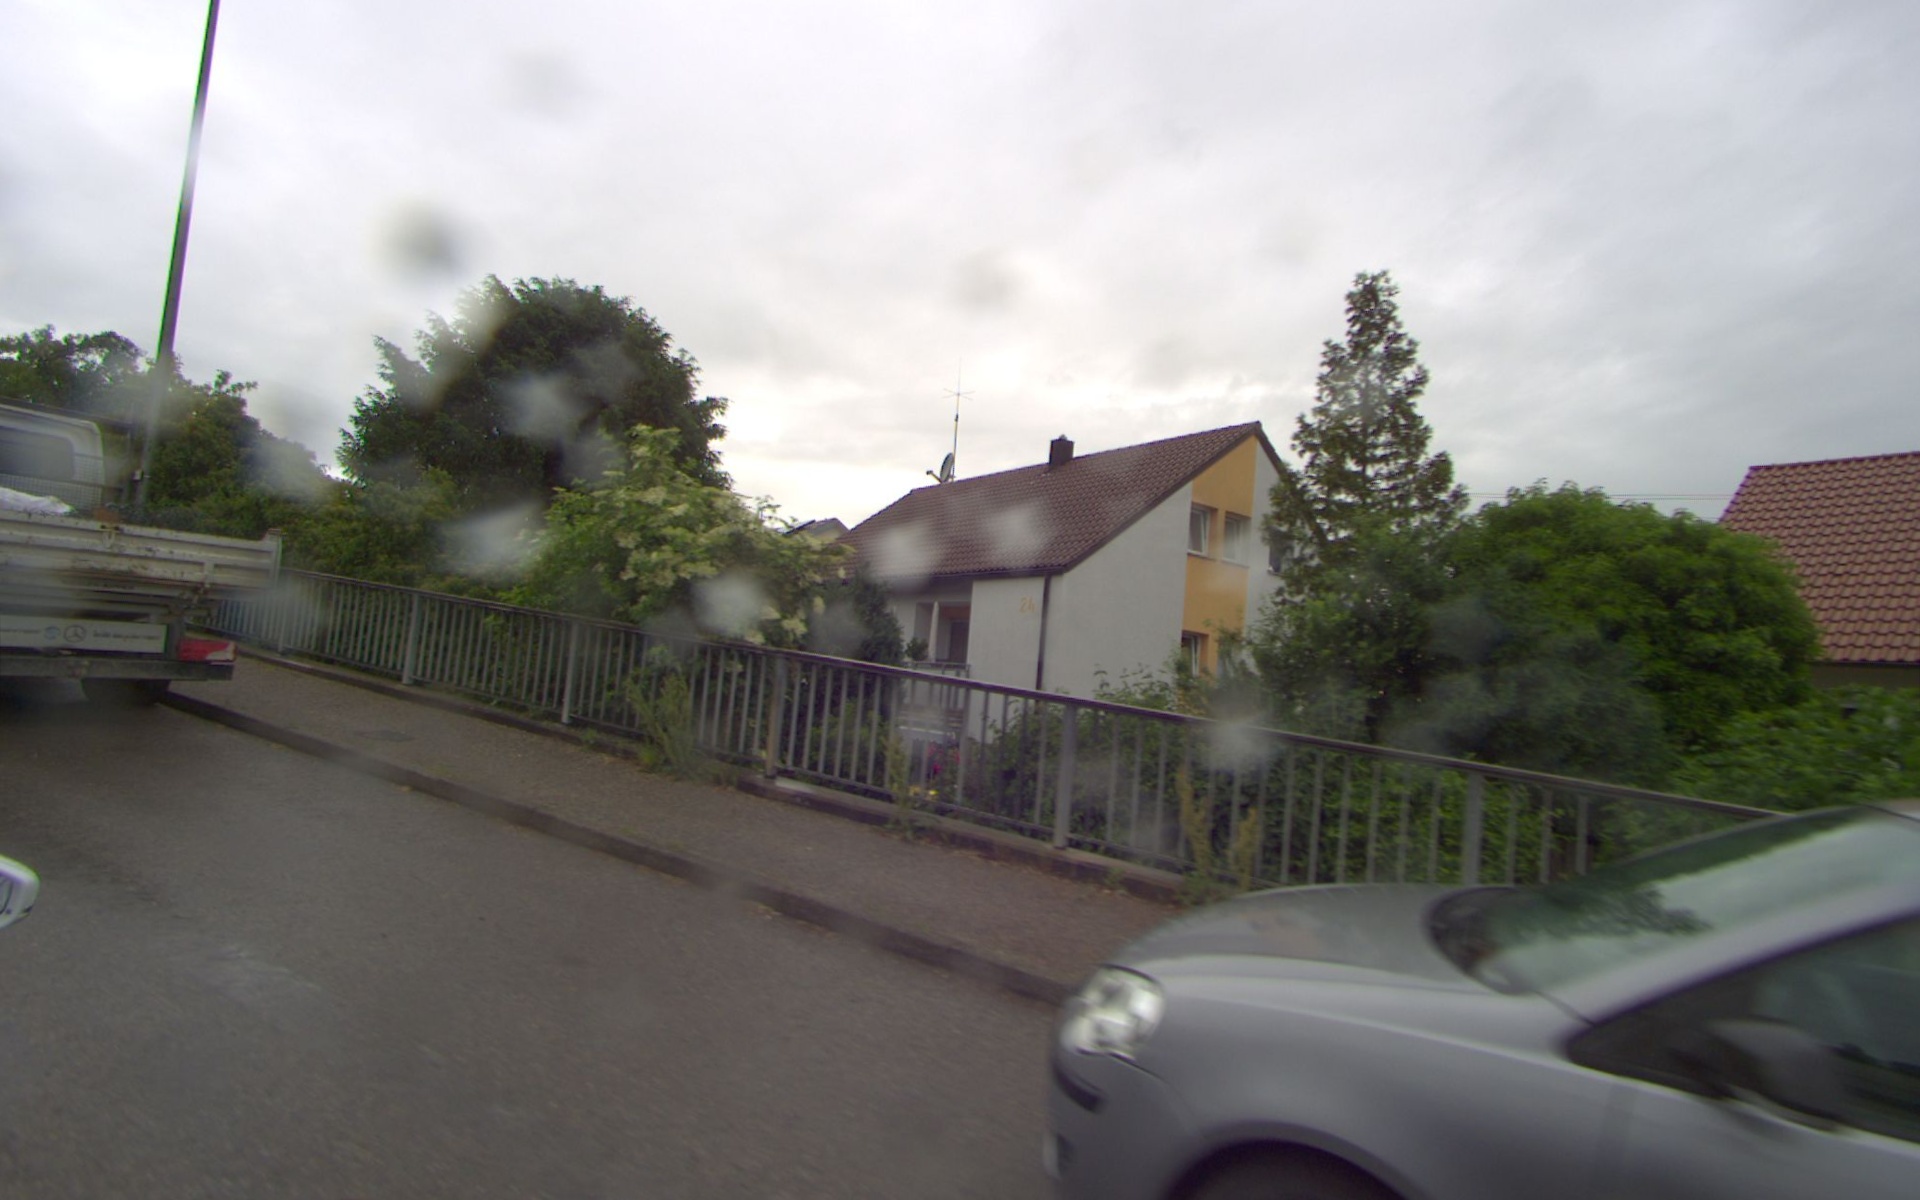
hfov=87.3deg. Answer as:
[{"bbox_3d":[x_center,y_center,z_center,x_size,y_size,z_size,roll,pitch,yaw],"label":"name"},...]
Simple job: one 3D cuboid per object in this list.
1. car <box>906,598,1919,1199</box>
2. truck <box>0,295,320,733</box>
[{"bbox_3d":[2.008,1.030,1.958,3.898,1.582,1.650,6,-1,32],"label":"car"},{"bbox_3d":[-8.288,-0.739,8.370,6.431,2.662,2.243,6,-1,32],"label":"truck"}]
